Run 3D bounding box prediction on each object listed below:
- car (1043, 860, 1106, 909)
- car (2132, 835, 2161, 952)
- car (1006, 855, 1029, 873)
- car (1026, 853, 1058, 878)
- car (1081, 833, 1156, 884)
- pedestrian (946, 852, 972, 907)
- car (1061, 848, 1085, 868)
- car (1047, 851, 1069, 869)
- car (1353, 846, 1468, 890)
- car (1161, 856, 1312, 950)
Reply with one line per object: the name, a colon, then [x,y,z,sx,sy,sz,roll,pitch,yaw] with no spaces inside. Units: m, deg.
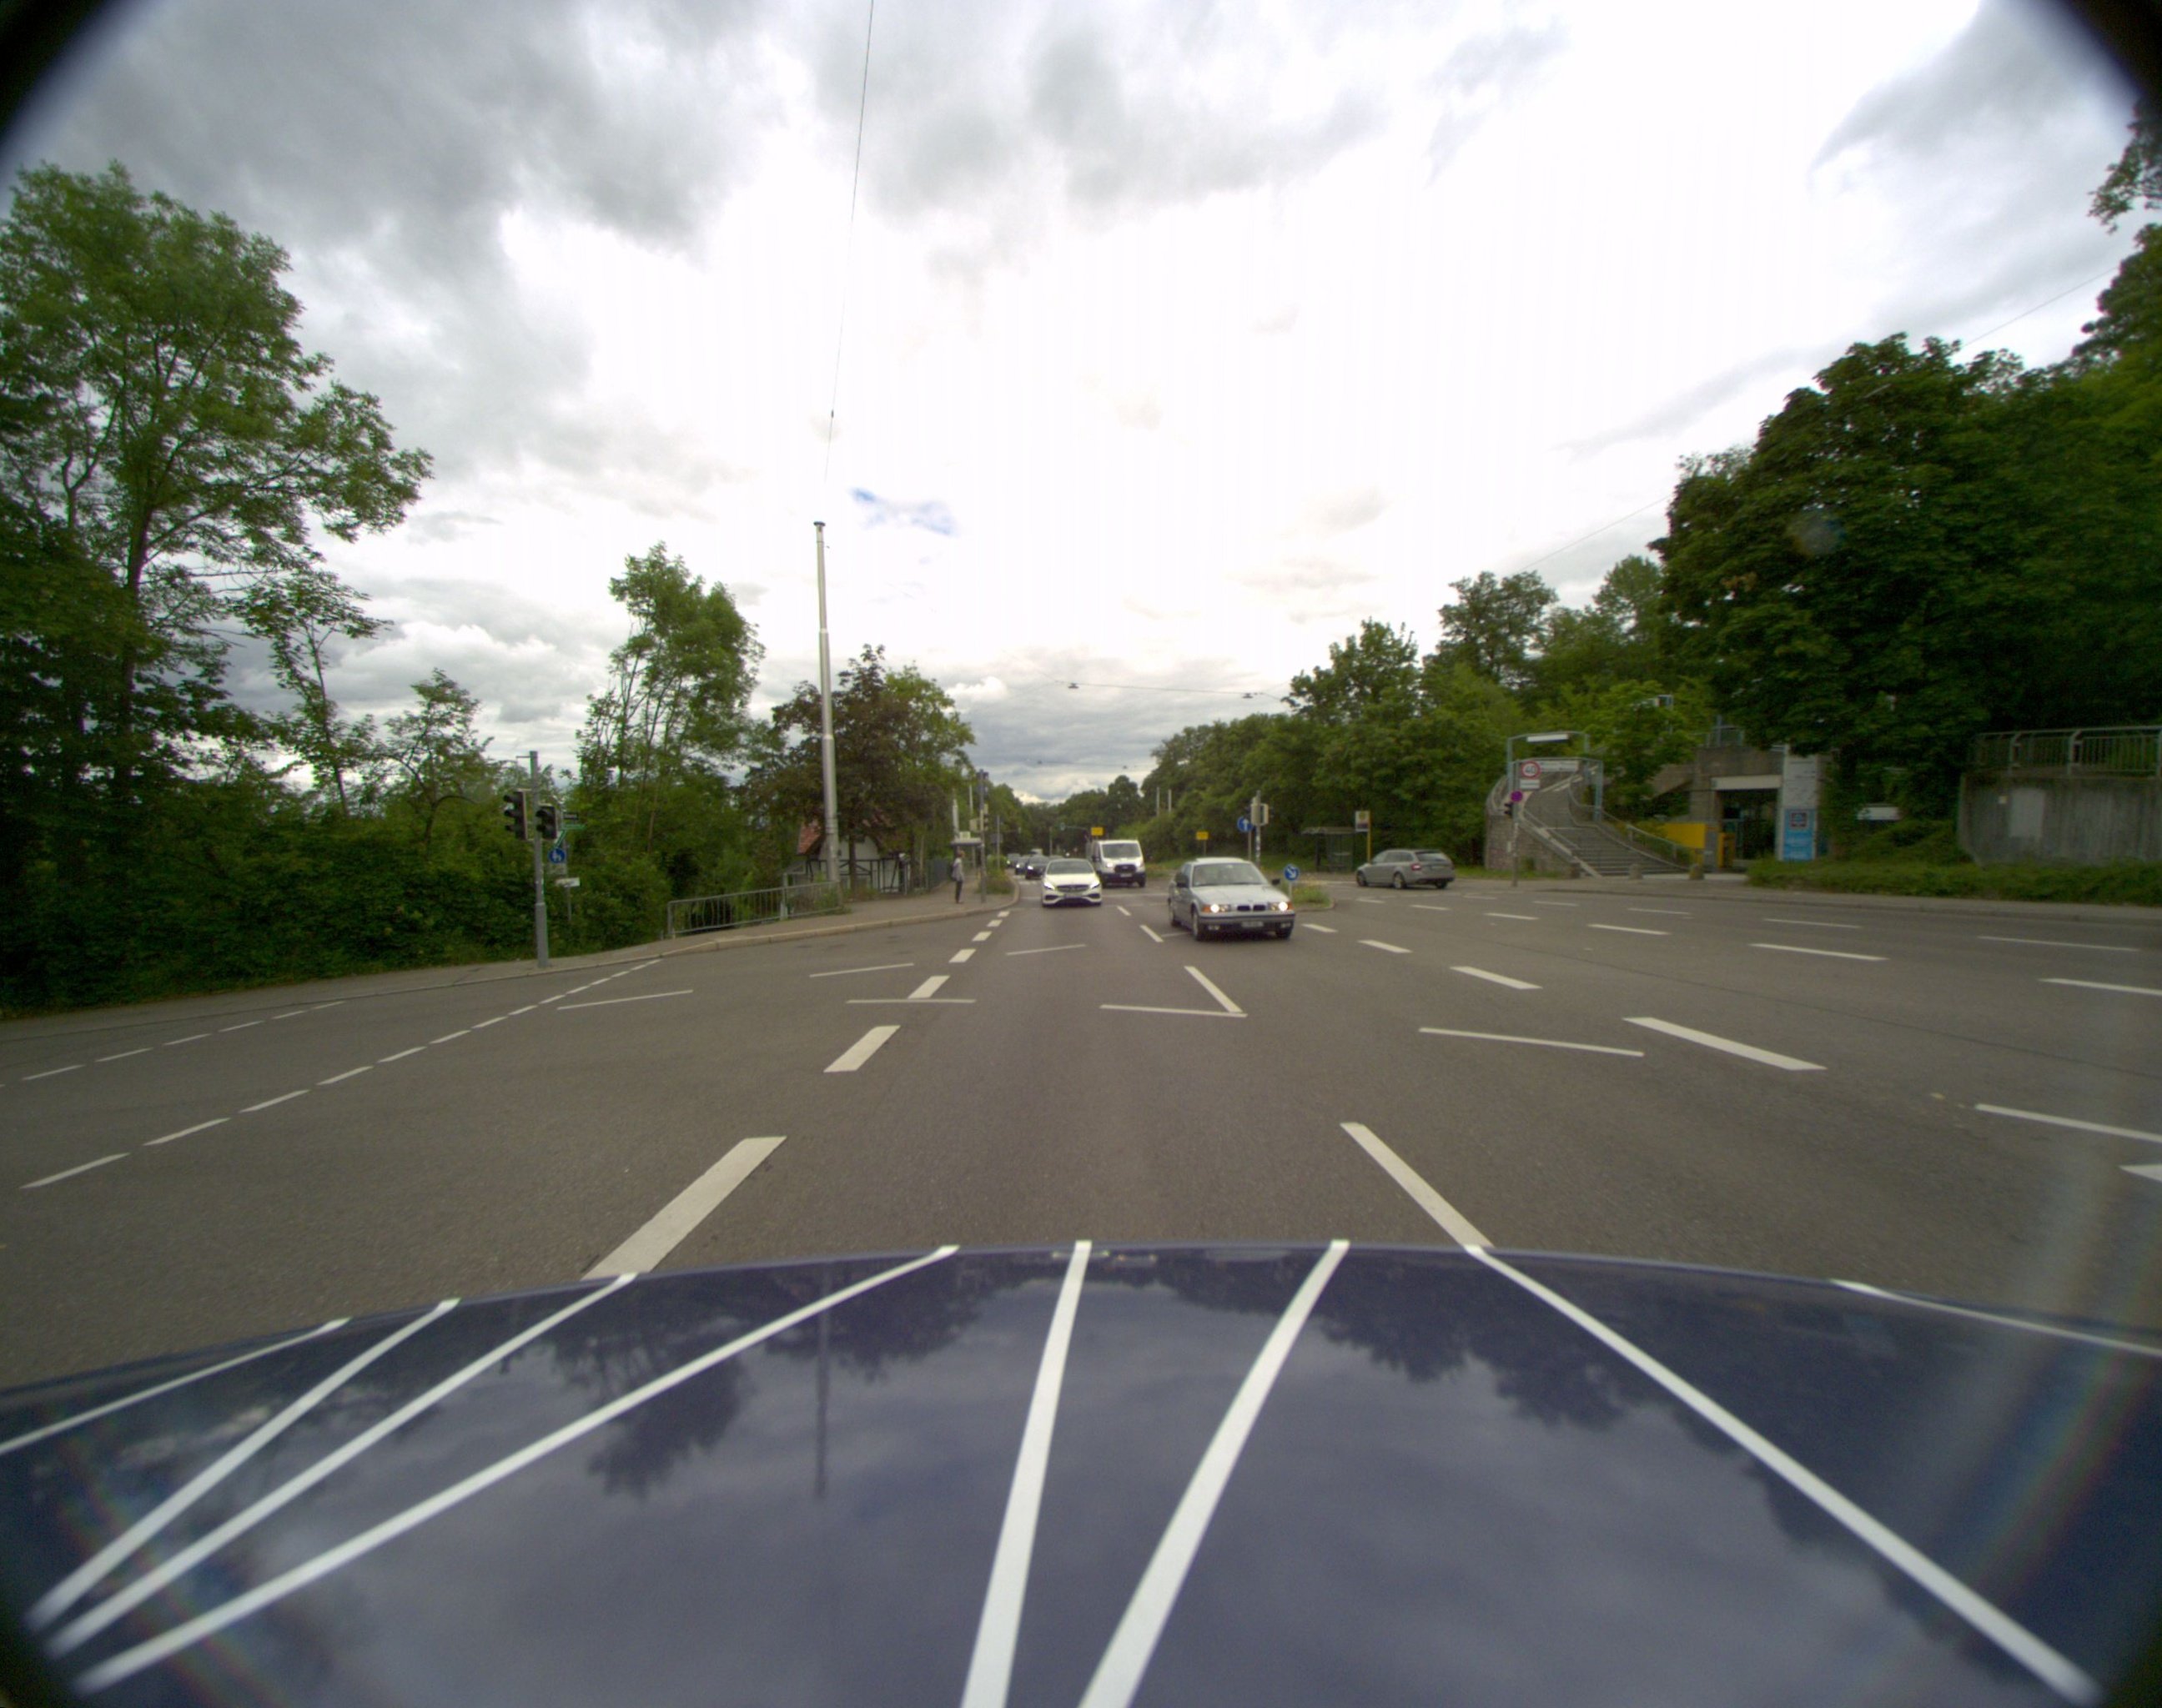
car: [-0.210,0.894,23.989,1.807,1.385,4.283,0,0,-1]
car: [13.700,0.467,7.206,1.656,1.385,4.142,-1,0,-3]
car: [-5.407,0.809,64.057,1.808,1.385,4.281,-1,0,-6]
car: [-2.644,0.731,50.708,1.679,1.532,4.611,0,0,-8]
car: [1.623,0.178,35.960,2.254,2.113,6.664,-1,0,-8]
pedestrian: [-3.835,0.784,23.851,0.696,1.679,0.619,0,2,-19]
car: [-0.695,0.287,60.888,1.678,1.532,4.551,0,0,-4]
car: [-2.107,0.539,69.705,1.678,1.532,4.612,0,0,-6]
car: [11.926,0.470,27.892,1.656,1.440,4.563,-2,0,-9]
car: [2.679,0.768,14.200,1.757,1.385,4.614,-2,0,-1]
